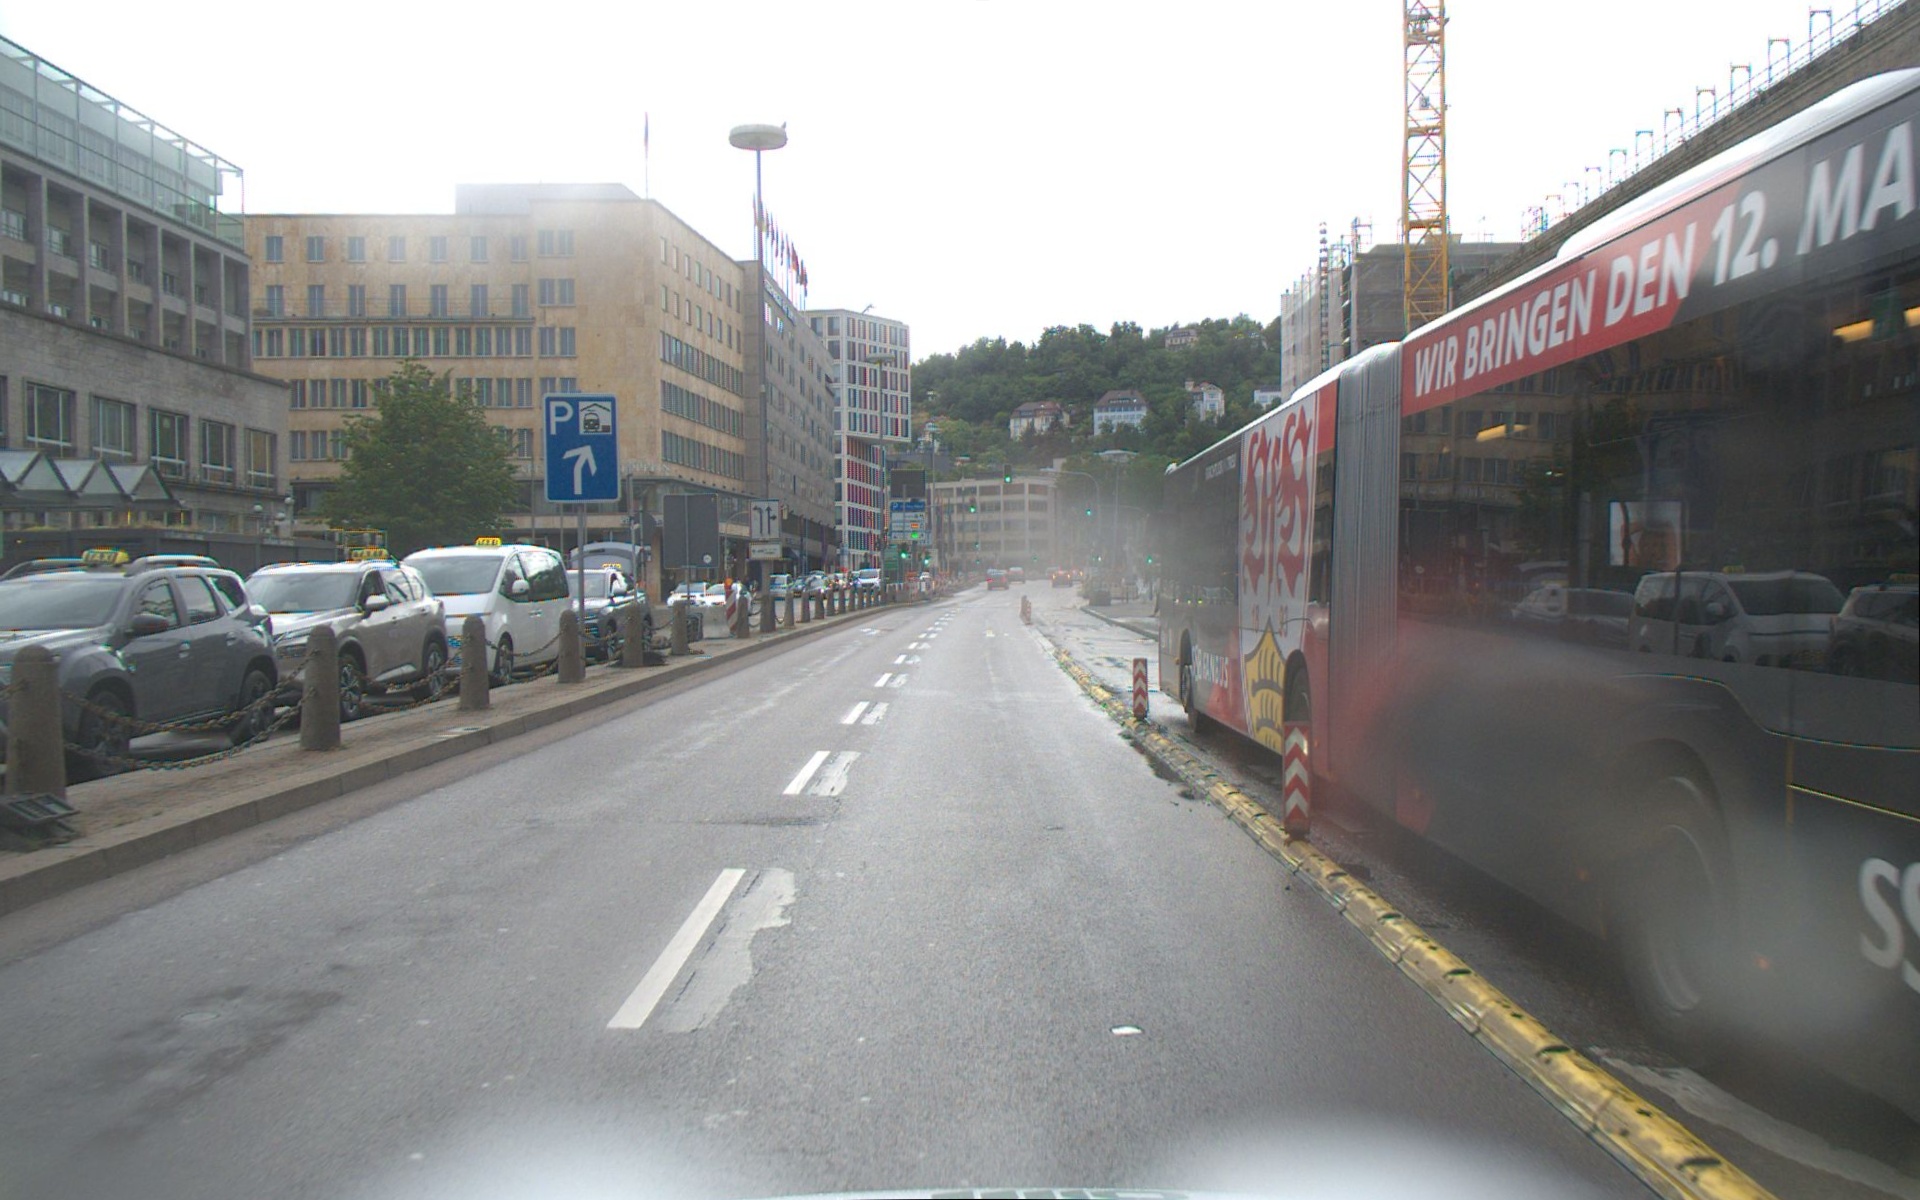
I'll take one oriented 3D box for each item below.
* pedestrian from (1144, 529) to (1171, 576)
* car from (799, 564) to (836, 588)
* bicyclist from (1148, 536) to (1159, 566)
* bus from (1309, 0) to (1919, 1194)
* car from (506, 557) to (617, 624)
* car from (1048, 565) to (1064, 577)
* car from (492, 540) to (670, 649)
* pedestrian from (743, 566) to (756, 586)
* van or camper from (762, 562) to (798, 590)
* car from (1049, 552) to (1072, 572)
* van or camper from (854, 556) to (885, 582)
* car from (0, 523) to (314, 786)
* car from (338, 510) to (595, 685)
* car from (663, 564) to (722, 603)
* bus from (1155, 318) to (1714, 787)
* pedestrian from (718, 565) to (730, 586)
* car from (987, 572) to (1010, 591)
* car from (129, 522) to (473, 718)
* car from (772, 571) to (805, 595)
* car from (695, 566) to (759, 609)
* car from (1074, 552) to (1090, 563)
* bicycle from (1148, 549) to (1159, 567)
[{"bbox_3d":[7.370,-1.776,61.736,0.693,1.708,0.717,-2,2,-26],"label":"pedestrian"},{"bbox_3d":[-10.530,-1.816,122.462,1.952,1.645,4.981,-1,1,4],"label":"car"},{"bbox_3d":[12.092,-3.040,103.223,0.688,1.877,0.969,0,1,7],"label":"bicyclist"},{"bbox_3d":[3.660,-0.191,6.470,2.698,3.122,9.081,0,1,0],"label":"bus"},{"bbox_3d":[-10.087,-0.282,42.119,1.954,1.579,3.999,-2,1,-2],"label":"car"},{"bbox_3d":[11.998,-3.600,206.846,1.782,1.467,4.002,0,2,2],"label":"car"},{"bbox_3d":[-6.675,-0.166,29.699,1.952,1.752,4.783,-1,2,1],"label":"car"},{"bbox_3d":[-17.291,-1.970,135.881,0.778,1.553,0.917,-1,1,5],"label":"pedestrian"},{"bbox_3d":[-13.811,-1.855,127.169,1.952,2.048,4.967,0,1,2],"label":"van or camper"},{"bbox_3d":[9.093,-3.474,150.101,1.952,1.735,4.001,-2,1,2],"label":"car"},{"bbox_3d":[-7.341,-2.559,134.563,1.952,2.048,5.192,-1,1,3],"label":"van or camper"},{"bbox_3d":[-7.115,0.349,13.353,1.891,1.728,4.884,-3,1,-1],"label":"car"},{"bbox_3d":[-7.001,-0.112,24.169,1.952,2.216,5.545,-1,2,1],"label":"car"},{"bbox_3d":[-12.672,-0.804,78.576,1.922,1.591,4.836,-3,2,0],"label":"car"},{"bbox_3d":[3.690,-0.411,15.526,2.698,3.119,8.994,0,1,0],"label":"bus"},{"bbox_3d":[-17.933,-1.874,125.549,0.706,1.584,0.906,-1,1,4],"label":"pedestrian"},{"bbox_3d":[3.383,-1.657,145.209,1.952,1.579,4.001,-2,1,1],"label":"car"},{"bbox_3d":[-7.138,0.147,18.531,1.890,1.837,4.583,-3,1,1],"label":"car"},{"bbox_3d":[-13.808,-1.388,133.307,1.952,1.869,4.002,0,1,3],"label":"car"},{"bbox_3d":[-9.856,-0.551,70.245,1.922,1.591,4.836,-3,2,0],"label":"car"},{"bbox_3d":[16.661,-5.849,225.597,1.952,1.467,4.002,0,2,1],"label":"car"},{"bbox_3d":[12.090,-2.618,103.228,0.692,1.067,1.808,0,2,7],"label":"bicycle"}]
